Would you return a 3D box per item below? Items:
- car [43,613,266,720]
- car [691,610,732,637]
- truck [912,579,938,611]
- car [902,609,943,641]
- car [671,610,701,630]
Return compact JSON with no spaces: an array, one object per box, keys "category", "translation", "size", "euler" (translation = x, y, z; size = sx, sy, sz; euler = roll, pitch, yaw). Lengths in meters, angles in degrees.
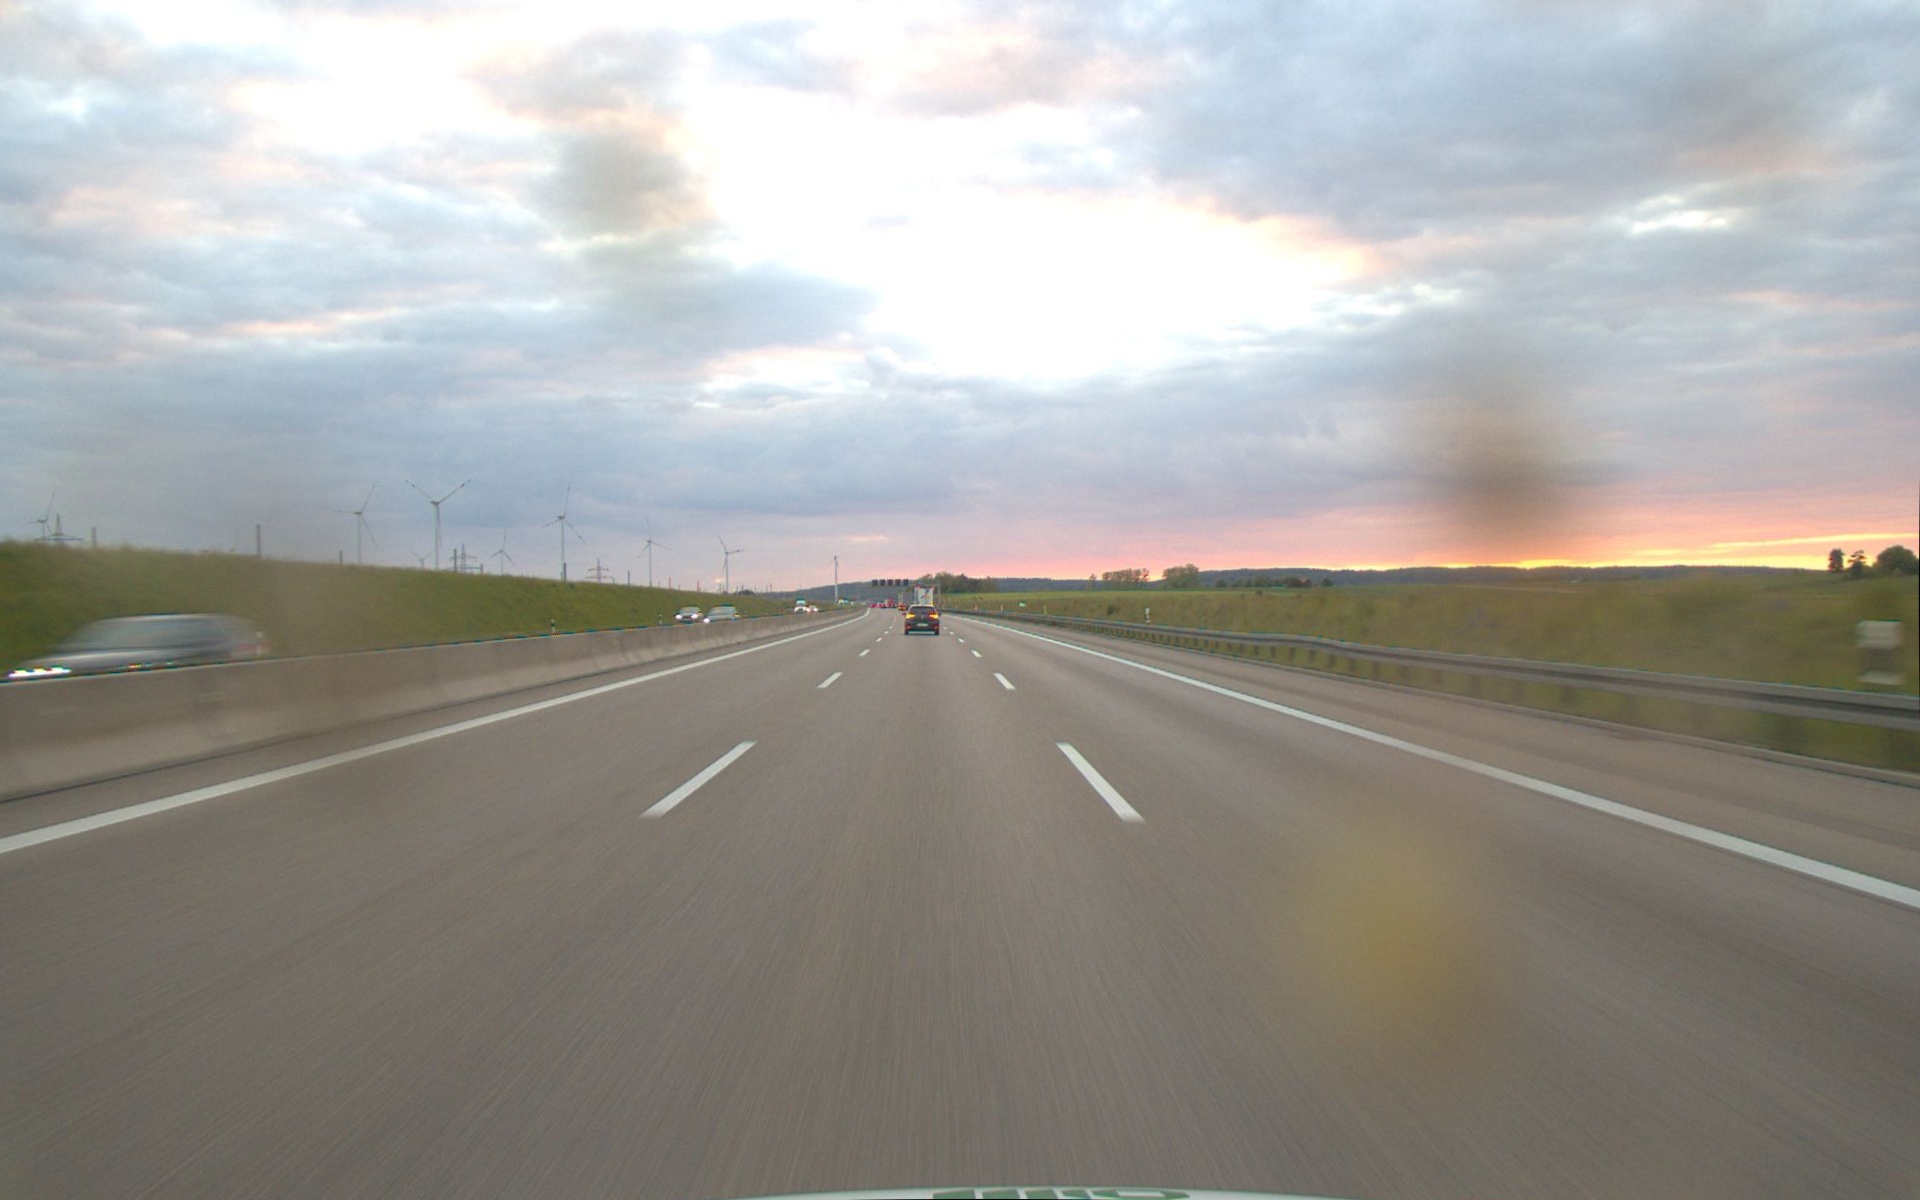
[{"category":"car","translation":[-11.982,0.941,24.856],"size":[1.545,1.409,3.772],"euler":[-2,0,-1]},{"category":"car","translation":[-13.920,1.290,92.841],"size":[1.711,1.409,4.493],"euler":[-2,0,-2]},{"category":"truck","translation":[-5.454,-0.768,254.960],"size":[3.602,4.644,10.975],"euler":[-1,0,-3]},{"category":"car","translation":[-1.835,1.212,81.532],"size":[1.947,1.454,4.000],"euler":[-1,0,-1]},{"category":"car","translation":[-22.395,1.608,135.306],"size":[1.824,1.580,4.579],"euler":[-1,0,-2]}]
